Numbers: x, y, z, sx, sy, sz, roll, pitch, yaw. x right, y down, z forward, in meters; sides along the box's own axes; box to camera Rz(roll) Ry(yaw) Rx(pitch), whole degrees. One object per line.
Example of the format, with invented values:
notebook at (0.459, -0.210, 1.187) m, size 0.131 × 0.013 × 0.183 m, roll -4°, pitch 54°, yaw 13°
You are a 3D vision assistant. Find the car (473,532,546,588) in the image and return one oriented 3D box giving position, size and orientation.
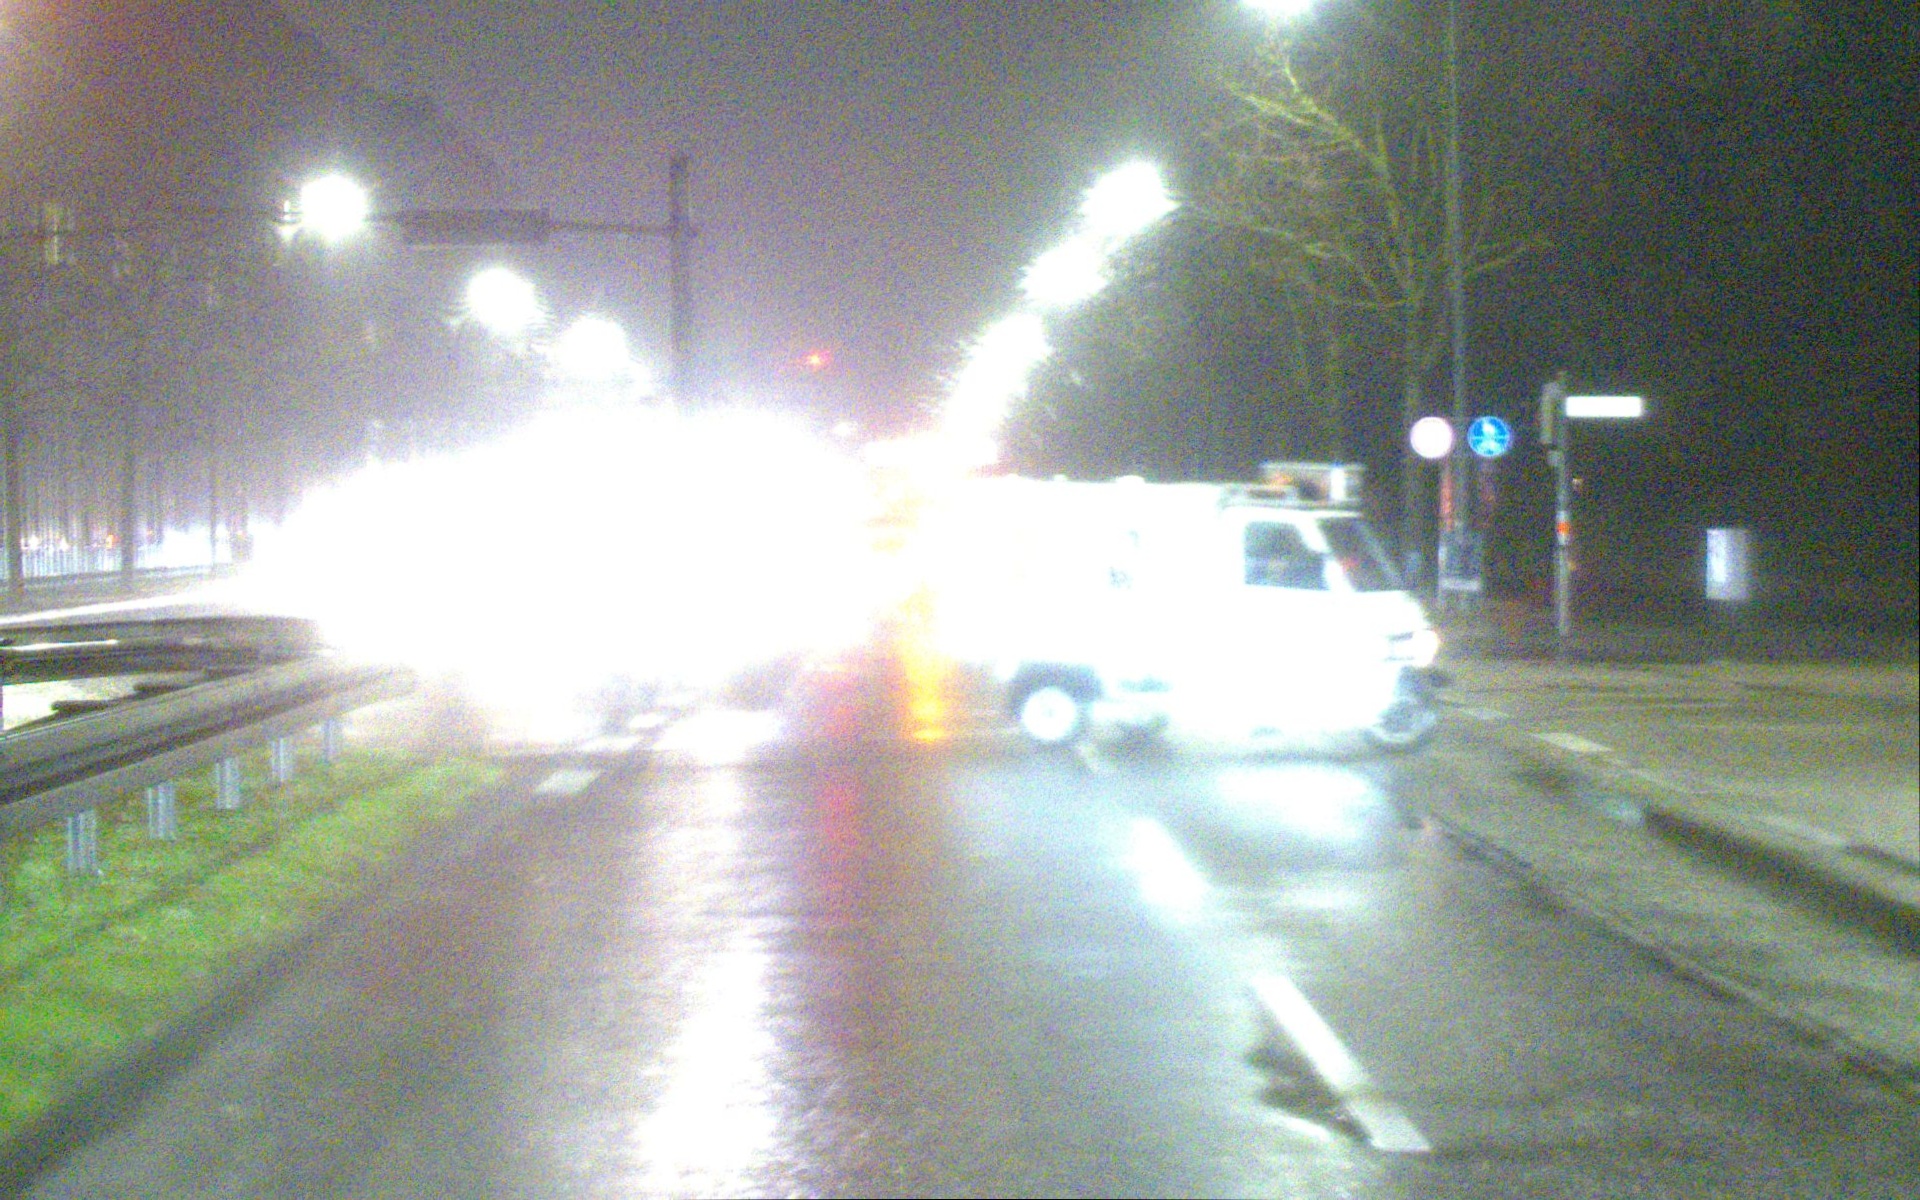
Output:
car at (-14.500, -1.291, 110.805) m, size 1.750 × 1.703 × 4.499 m, roll -2°, pitch 1°, yaw 0°

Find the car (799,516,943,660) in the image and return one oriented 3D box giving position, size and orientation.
car at (-1.264, -0.179, 49.797) m, size 1.993 × 2.007 × 4.000 m, roll 0°, pitch 0°, yaw -1°

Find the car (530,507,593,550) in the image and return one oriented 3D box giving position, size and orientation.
car at (-14.826, -2.647, 128.198) m, size 1.885 × 1.547 × 4.433 m, roll 0°, pitch 0°, yaw -1°

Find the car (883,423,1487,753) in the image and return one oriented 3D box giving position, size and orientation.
car at (1.472, -0.089, 22.469) m, size 3.561 × 2.007 × 1.702 m, roll 0°, pitch 0°, yaw 26°

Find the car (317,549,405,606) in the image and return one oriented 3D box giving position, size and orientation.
car at (-16.828, -0.626, 96.706) m, size 1.800 × 1.559 × 4.000 m, roll 0°, pitch 0°, yaw -1°

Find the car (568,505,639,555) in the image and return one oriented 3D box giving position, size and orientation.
car at (-11.475, -2.254, 110.974) m, size 1.885 × 1.547 × 4.433 m, roll 0°, pitch 0°, yaw -1°

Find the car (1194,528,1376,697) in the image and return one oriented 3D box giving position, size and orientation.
car at (4.384, 0.155, 46.905) m, size 2.208 × 2.207 × 3.643 m, roll 0°, pitch 0°, yaw 1°

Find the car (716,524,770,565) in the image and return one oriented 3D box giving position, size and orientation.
car at (-8.505, -2.174, 135.082) m, size 1.885 × 1.547 × 4.433 m, roll 0°, pitch 0°, yaw -1°
